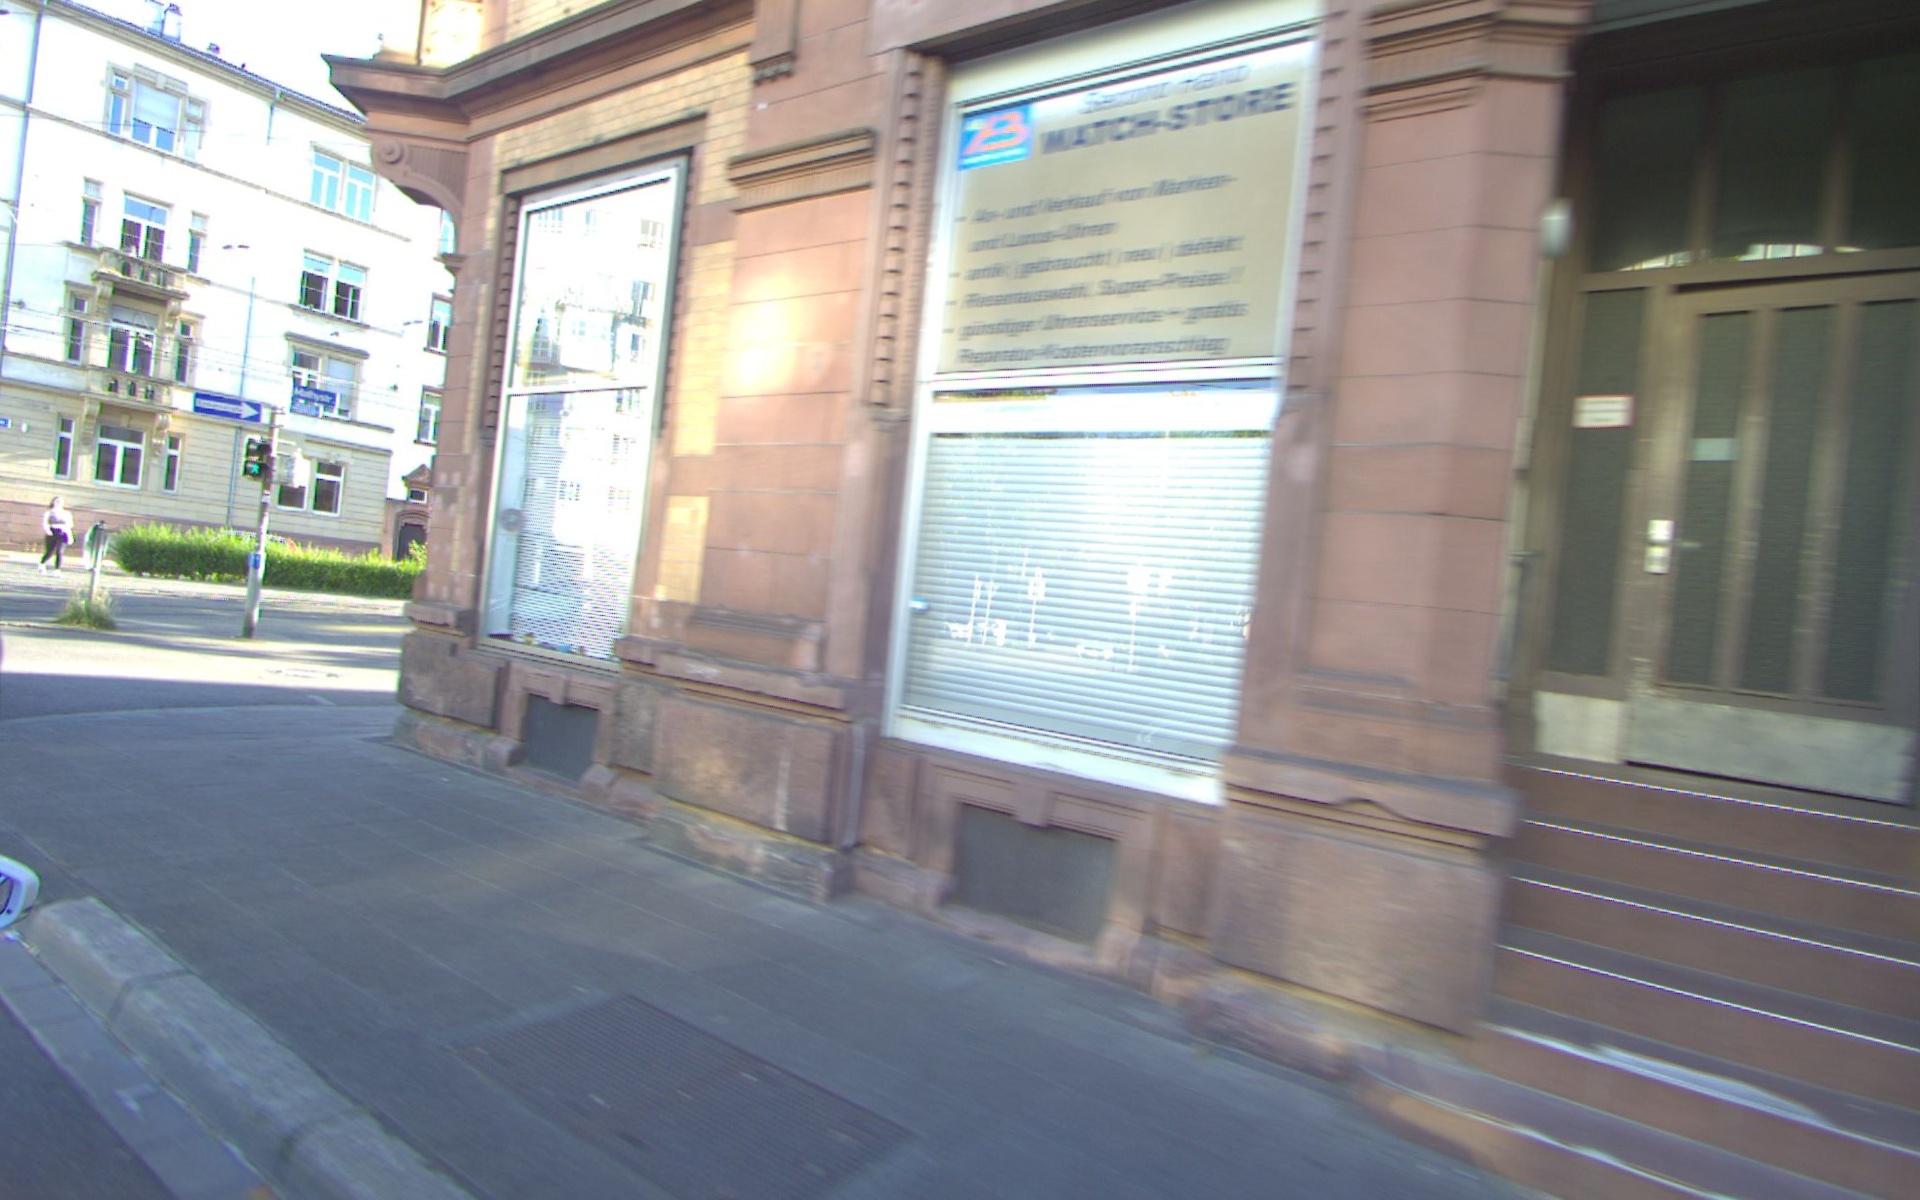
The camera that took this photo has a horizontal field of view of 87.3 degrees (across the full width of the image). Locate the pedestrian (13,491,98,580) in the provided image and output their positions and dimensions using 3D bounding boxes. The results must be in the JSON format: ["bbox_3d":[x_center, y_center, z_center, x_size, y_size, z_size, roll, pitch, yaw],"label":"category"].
[{"bbox_3d":[-20.244,-1.438,22.519,1.065,1.829,1.024,6,0,31],"label":"pedestrian"}]

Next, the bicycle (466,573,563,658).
[{"bbox_3d":[-8.108,0.272,18.265,1.807,1.279,0.753,8,2,39],"label":"bicycle"}]

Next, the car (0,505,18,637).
[{"bbox_3d":[-7.410,-0.037,6.092,1.681,1.512,3.551,9,-2,-32],"label":"car"}]

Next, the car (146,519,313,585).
[{"bbox_3d":[-25.021,-1.615,34.559,1.918,1.651,4.251,6,-1,42],"label":"car"}]

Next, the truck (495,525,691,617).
[{"bbox_3d":[-16.268,-1.184,45.247,2.296,3.117,8.055,6,-1,38],"label":"truck"}]
